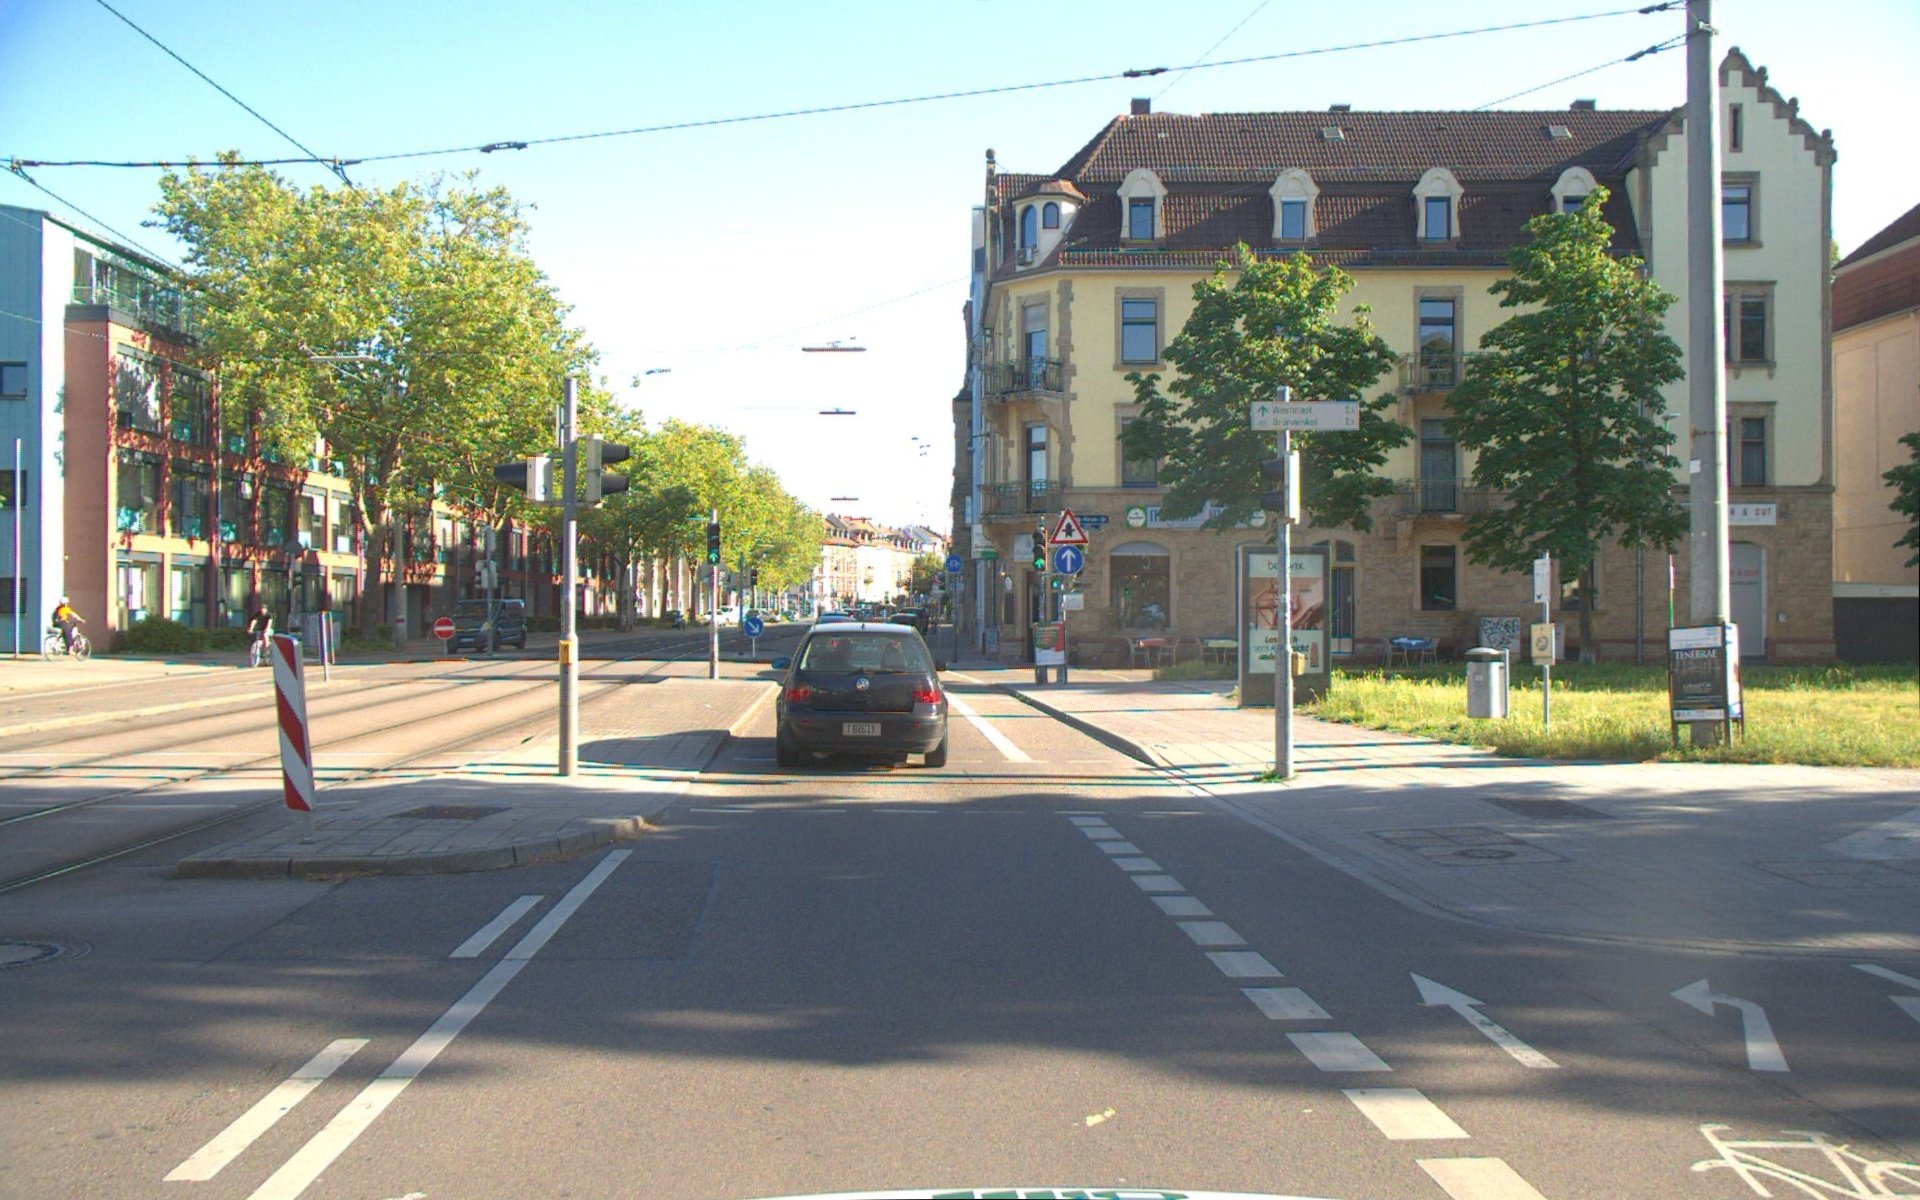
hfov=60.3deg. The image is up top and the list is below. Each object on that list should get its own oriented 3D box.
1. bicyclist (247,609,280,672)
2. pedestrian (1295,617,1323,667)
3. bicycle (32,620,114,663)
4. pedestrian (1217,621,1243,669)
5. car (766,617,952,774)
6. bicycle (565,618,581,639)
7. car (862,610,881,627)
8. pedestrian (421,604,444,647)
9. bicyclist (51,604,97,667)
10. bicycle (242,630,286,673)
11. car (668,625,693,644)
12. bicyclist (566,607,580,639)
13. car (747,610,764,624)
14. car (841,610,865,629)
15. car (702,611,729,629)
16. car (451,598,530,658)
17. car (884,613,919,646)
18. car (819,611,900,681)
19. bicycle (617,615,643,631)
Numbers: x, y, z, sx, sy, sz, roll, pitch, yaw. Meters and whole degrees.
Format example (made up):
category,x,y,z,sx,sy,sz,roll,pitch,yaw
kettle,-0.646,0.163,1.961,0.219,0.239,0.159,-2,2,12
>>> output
category,x,y,z,sx,sy,sz,roll,pitch,yaw
bicyclist,-19.744,1.139,46.892,0.575,1.741,0.901,-1,0,-4
pedestrian,10.042,1.203,47.565,0.625,1.383,0.701,2,0,0
bicycle,-24.691,1.147,46.095,0.619,1.149,2.034,2,0,24
pedestrian,7.899,1.312,48.418,0.625,1.383,0.701,2,0,0
car,-1.009,0.905,17.333,1.713,1.399,3.998,0,0,-2
bicycle,-20.431,1.517,87.313,0.633,1.061,1.921,2,0,-9
car,-8.141,1.695,151.890,1.603,1.498,3.728,0,0,-1
pedestrian,-25.141,1.212,78.801,0.893,2.049,0.779,2,0,-10
bicyclist,-24.686,0.991,46.099,0.593,1.722,0.932,2,0,24
bicycle,-19.728,1.449,46.915,0.575,1.133,1.825,-1,0,-4
car,-22.551,2.811,133.451,1.476,1.479,3.462,-1,-2,-1
bicyclist,-20.418,1.200,87.308,0.633,1.639,0.779,2,0,-10
car,-23.719,2.021,192.097,1.538,1.560,3.571,0,-1,-1
car,-8.286,1.512,128.264,1.603,1.498,3.728,0,0,-1
car,-23.296,1.881,157.614,1.971,1.600,4.691,2,0,-2
car,-17.698,1.003,62.635,1.981,2.048,5.243,-2,1,-6
car,-2.822,1.409,79.924,1.621,1.508,3.999,1,0,-1
car,-2.374,1.065,39.815,1.713,1.564,3.891,0,0,0
bicycle,-27.871,1.923,139.662,1.967,1.301,0.664,1,0,-1
